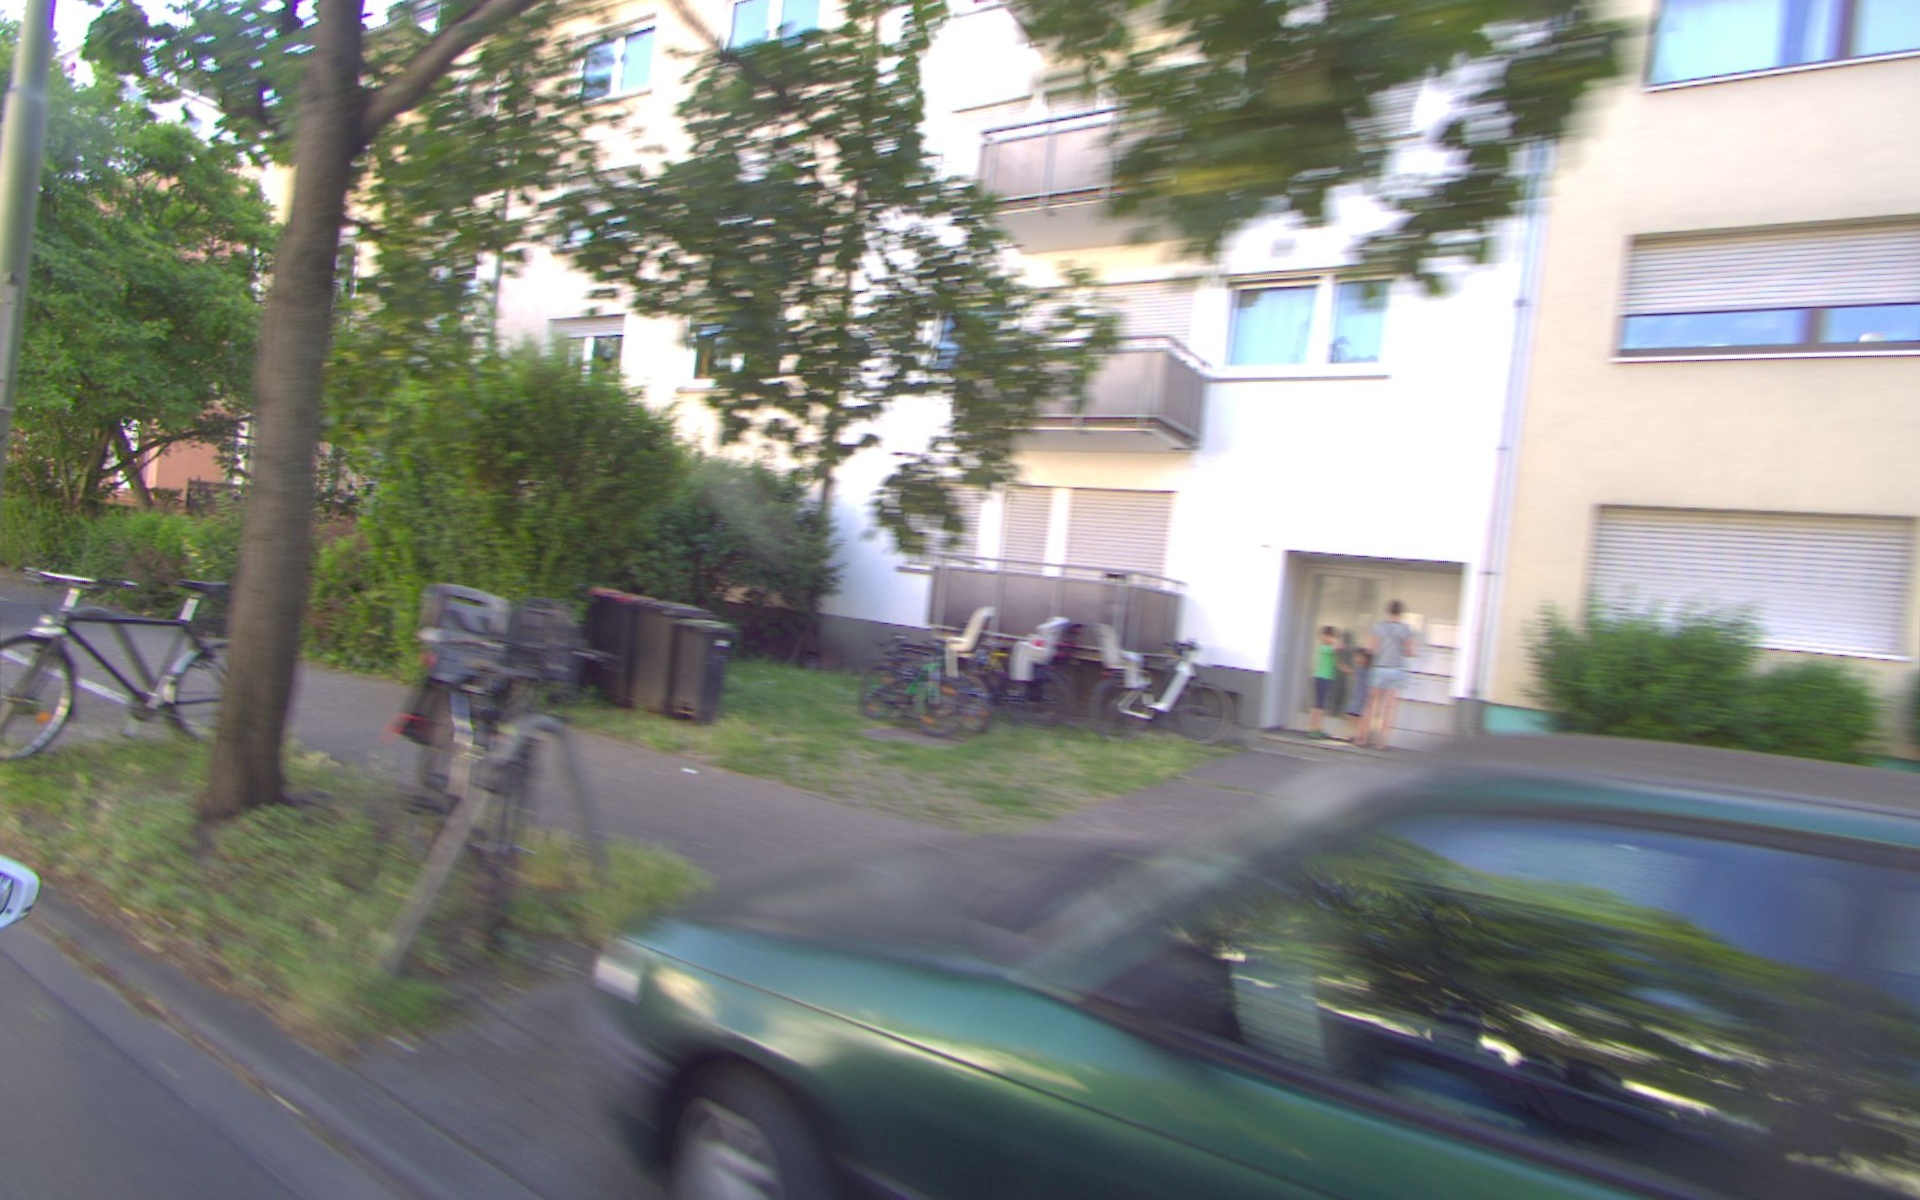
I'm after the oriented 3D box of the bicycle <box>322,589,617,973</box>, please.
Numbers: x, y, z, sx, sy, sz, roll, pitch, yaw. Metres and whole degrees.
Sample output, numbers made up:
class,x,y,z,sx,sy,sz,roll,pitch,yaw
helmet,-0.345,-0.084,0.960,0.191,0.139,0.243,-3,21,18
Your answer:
class,x,y,z,sx,sy,sz,roll,pitch,yaw
bicycle,-1.922,0.608,4.198,0.463,1.252,1.666,7,0,-7

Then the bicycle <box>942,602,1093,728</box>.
class,x,y,z,sx,sy,sz,roll,pitch,yaw
bicycle,0.687,0.762,12.329,1.661,1.305,0.591,7,3,32

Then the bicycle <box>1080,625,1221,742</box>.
class,x,y,z,sx,sy,sz,roll,pitch,yaw
bicycle,2.182,0.963,11.486,1.521,1.239,0.460,4,3,-28

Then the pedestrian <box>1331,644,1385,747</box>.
class,x,y,z,sx,sy,sz,roll,pitch,yaw
pedestrian,4.935,1.186,12.474,0.363,1.210,0.337,9,-2,-34

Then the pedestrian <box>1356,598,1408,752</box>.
class,x,y,z,sx,sy,sz,roll,pitch,yaw
pedestrian,4.987,0.888,11.895,0.360,1.756,0.366,7,-2,25

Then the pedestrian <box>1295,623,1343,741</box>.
class,x,y,z,sx,sy,sz,roll,pitch,yaw
pedestrian,4.439,1.019,12.449,0.358,1.398,0.367,7,-2,15

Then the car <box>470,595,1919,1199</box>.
class,x,y,z,sx,sy,sz,roll,pitch,yaw
car,1.053,0.929,1.832,3.910,1.401,1.613,7,1,32

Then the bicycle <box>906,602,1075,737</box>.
class,x,y,z,sx,sy,sz,roll,pitch,yaw
bicycle,0.334,0.767,11.747,1.812,1.305,0.623,7,3,32

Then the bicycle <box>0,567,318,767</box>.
class,x,y,z,sx,sy,sz,roll,pitch,yaw
bicycle,-4.821,0.369,5.841,0.517,1.035,1.736,4,0,39
